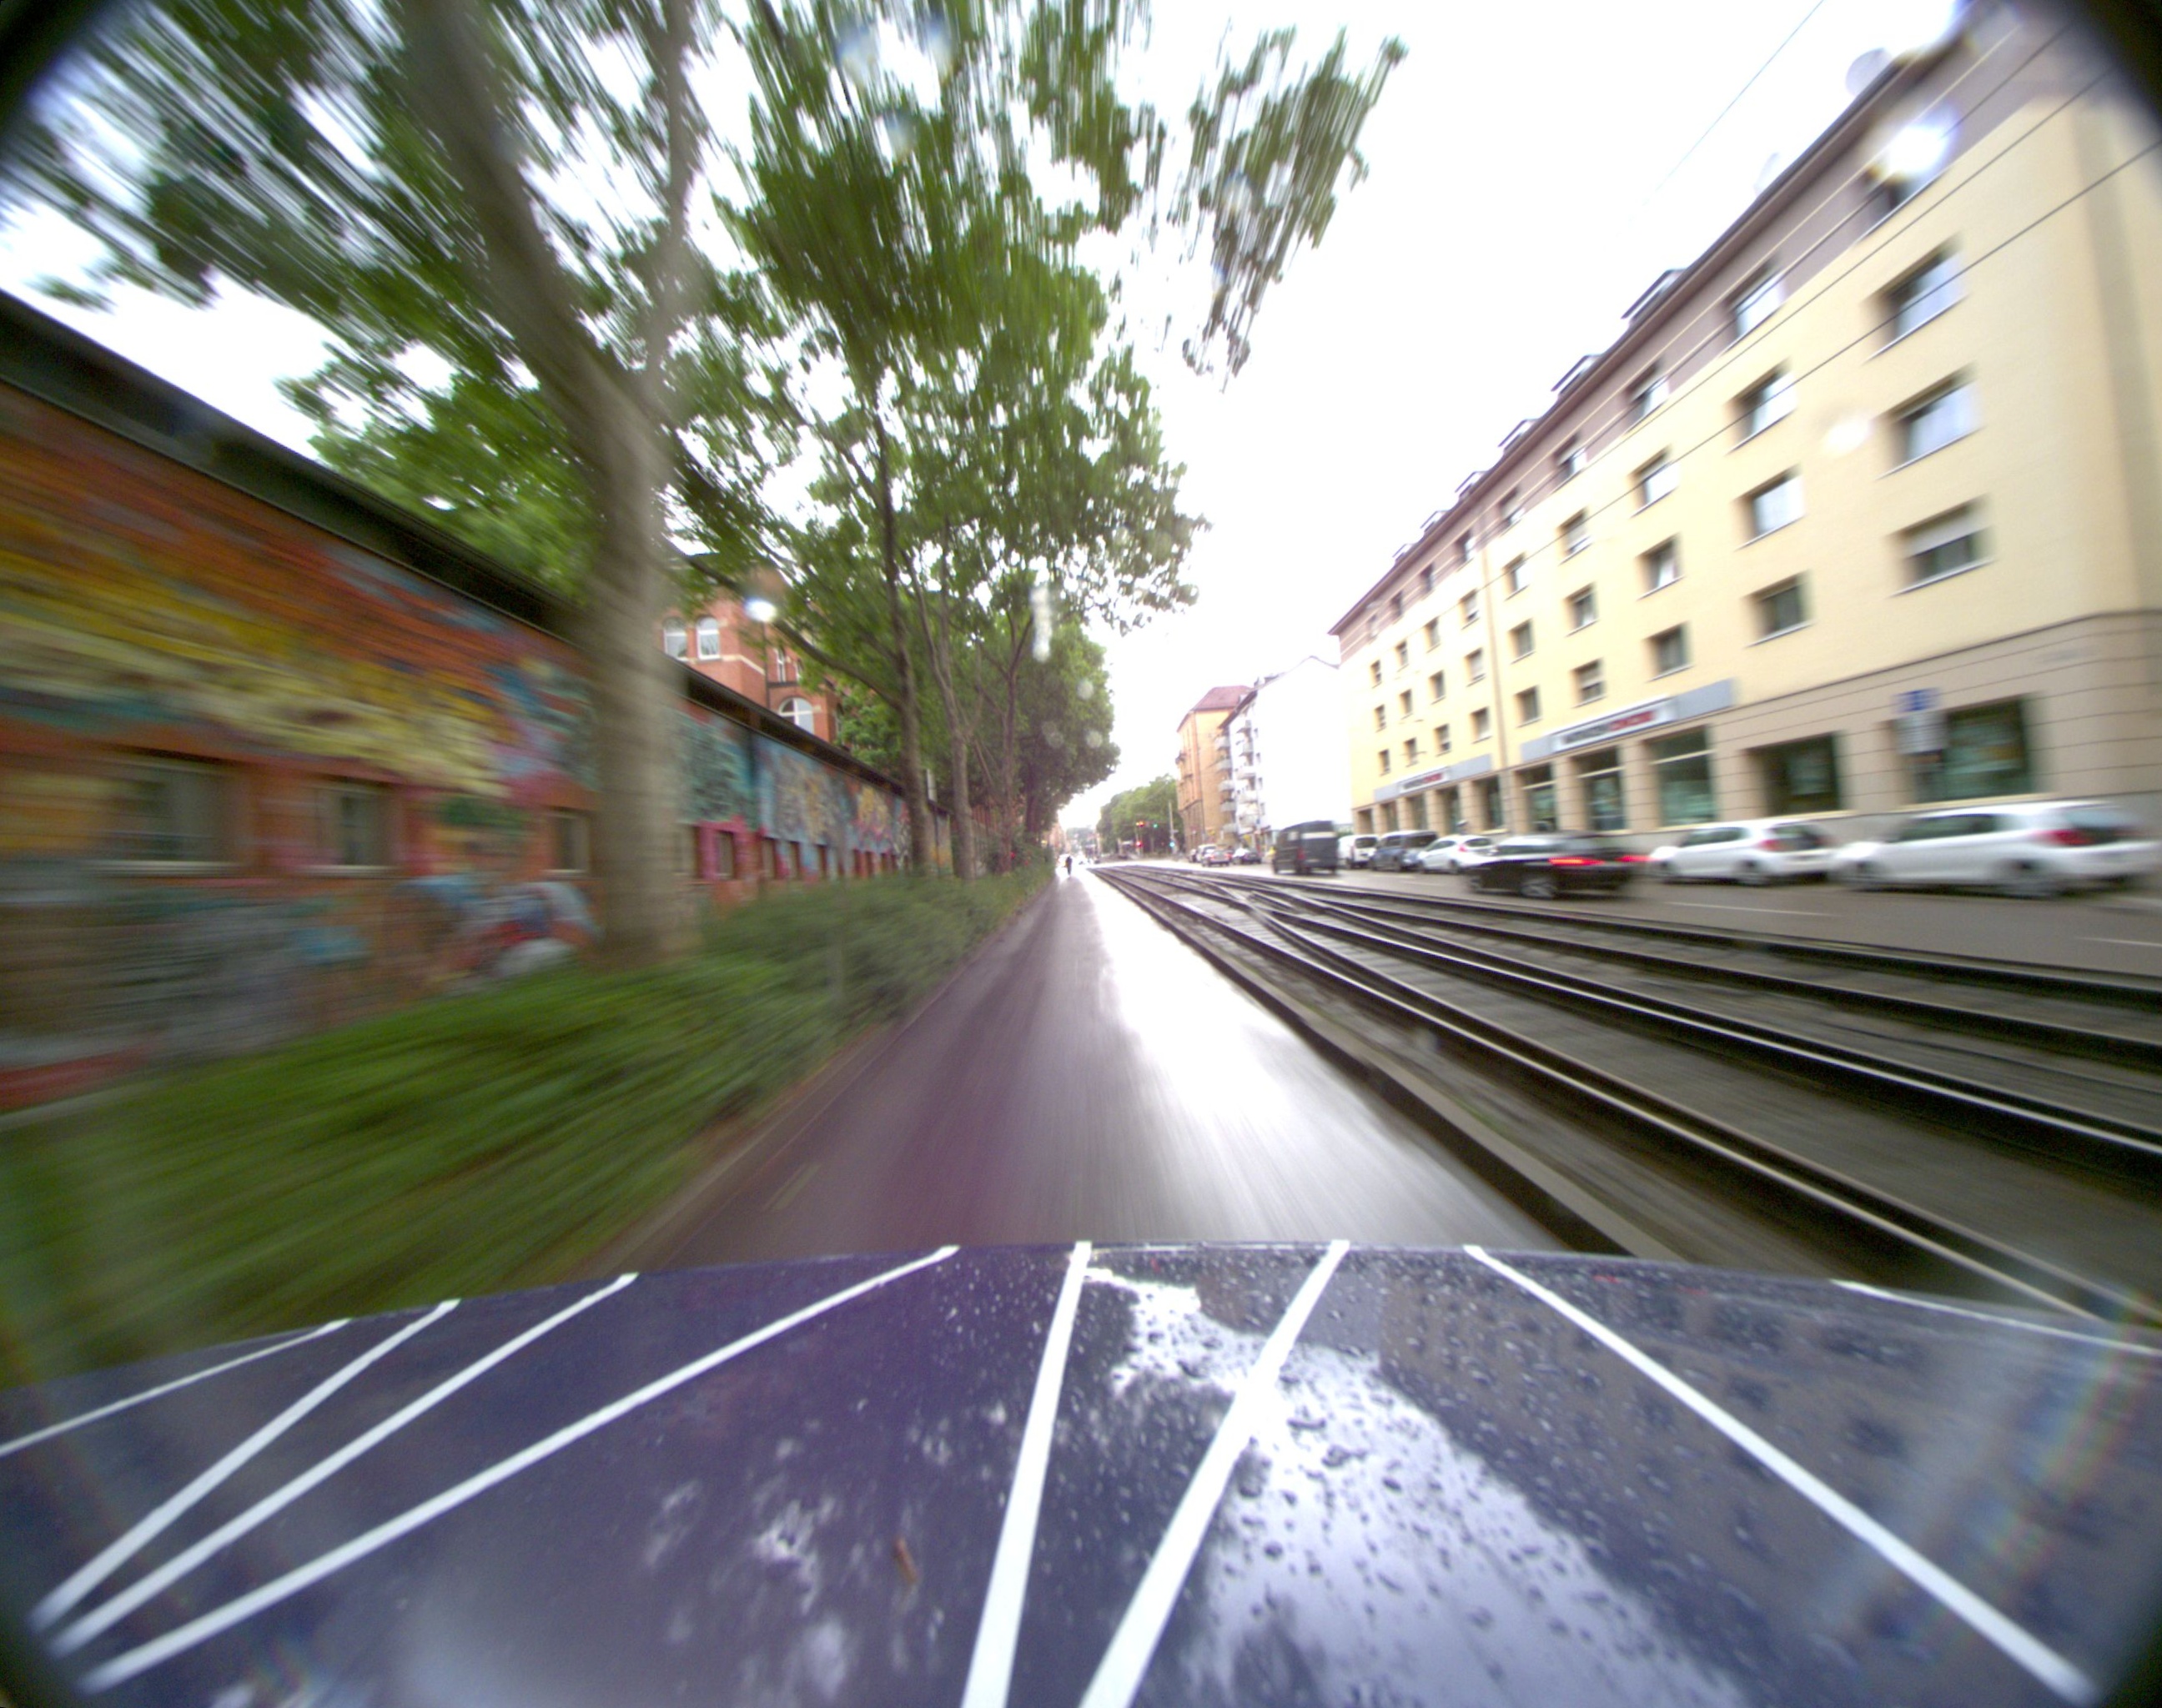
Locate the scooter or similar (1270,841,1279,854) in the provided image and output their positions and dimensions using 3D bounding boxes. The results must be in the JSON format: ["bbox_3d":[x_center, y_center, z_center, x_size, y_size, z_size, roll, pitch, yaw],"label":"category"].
[{"bbox_3d":[19.140,-0.611,75.141,0.623,1.193,1.896,-6,0,19],"label":"scooter or similar"}]

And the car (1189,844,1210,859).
[{"bbox_3d":[14.270,-0.318,91.779,1.737,1.641,4.363,-4,1,-1],"label":"car"}]

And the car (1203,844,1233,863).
[{"bbox_3d":[11.677,-0.027,65.112,1.716,1.454,4.280,-3,0,0],"label":"car"}]

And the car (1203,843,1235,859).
[{"bbox_3d":[14.838,-0.328,81.547,1.781,1.425,3.988,-4,1,34],"label":"car"}]

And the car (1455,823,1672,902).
[{"bbox_3d":[10.897,0.217,17.711,1.885,1.477,4.855,-4,-1,0],"label":"car"}]

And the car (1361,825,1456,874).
[{"bbox_3d":[15.003,-0.247,35.243,1.998,1.894,5.458,-6,1,1],"label":"car"}]

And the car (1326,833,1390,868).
[{"bbox_3d":[15.006,-0.222,41.441,1.872,1.707,4.459,-4,1,1],"label":"car"}]

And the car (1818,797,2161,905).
[{"bbox_3d":[15.368,-0.056,13.090,1.713,1.441,3.540,-6,1,-3],"label":"car"}]

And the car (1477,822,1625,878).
[{"bbox_3d":[15.023,-0.122,24.649,1.818,1.490,4.582,-5,0,-1],"label":"car"}]

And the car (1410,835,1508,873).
[{"bbox_3d":[15.003,-0.004,30.378,1.696,1.431,4.047,0,0,-4],"label":"car"}]

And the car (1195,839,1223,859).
[{"bbox_3d":[14.467,-0.580,86.290,2.075,1.997,5.301,-7,0,-1],"label":"car"}]

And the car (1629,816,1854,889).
[{"bbox_3d":[15.299,-0.030,17.934,1.708,1.388,3.935,-6,0,-2],"label":"car"}]

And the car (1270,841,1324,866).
[{"bbox_3d":[14.817,-0.042,52.431,1.857,1.499,4.989,-4,1,-6],"label":"car"}]

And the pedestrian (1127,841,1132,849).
[{"bbox_3d":[12.176,-2.182,190.287,0.837,2.050,0.884,-4,1,-4],"label":"pedestrian"}]

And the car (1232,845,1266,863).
[{"bbox_3d":[14.478,-0.063,65.690,1.684,1.388,4.621,-4,1,-2],"label":"car"}]

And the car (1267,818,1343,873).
[{"bbox_3d":[11.251,-0.466,38.667,1.998,2.438,5.996,-4,1,0],"label":"car"}]

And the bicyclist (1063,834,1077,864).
[{"bbox_3d":[-0.851,-0.373,59.750,0.921,2.250,1.287,-4,1,1],"label":"bicyclist"}]

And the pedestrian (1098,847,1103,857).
[{"bbox_3d":[3.622,-0.418,141.379,0.827,1.788,1.001,-4,1,-2],"label":"pedestrian"}]

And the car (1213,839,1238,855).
[{"bbox_3d":[14.335,-0.679,75.458,1.657,1.443,4.073,-4,1,1],"label":"car"}]

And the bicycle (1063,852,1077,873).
[{"bbox_3d":[-0.853,0.650,59.642,0.936,1.545,3.135,-3,0,2],"label":"bicycle"}]

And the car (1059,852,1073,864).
[{"bbox_3d":[-2.109,0.591,109.508,1.884,1.439,3.999,-5,1,-1],"label":"car"}]
